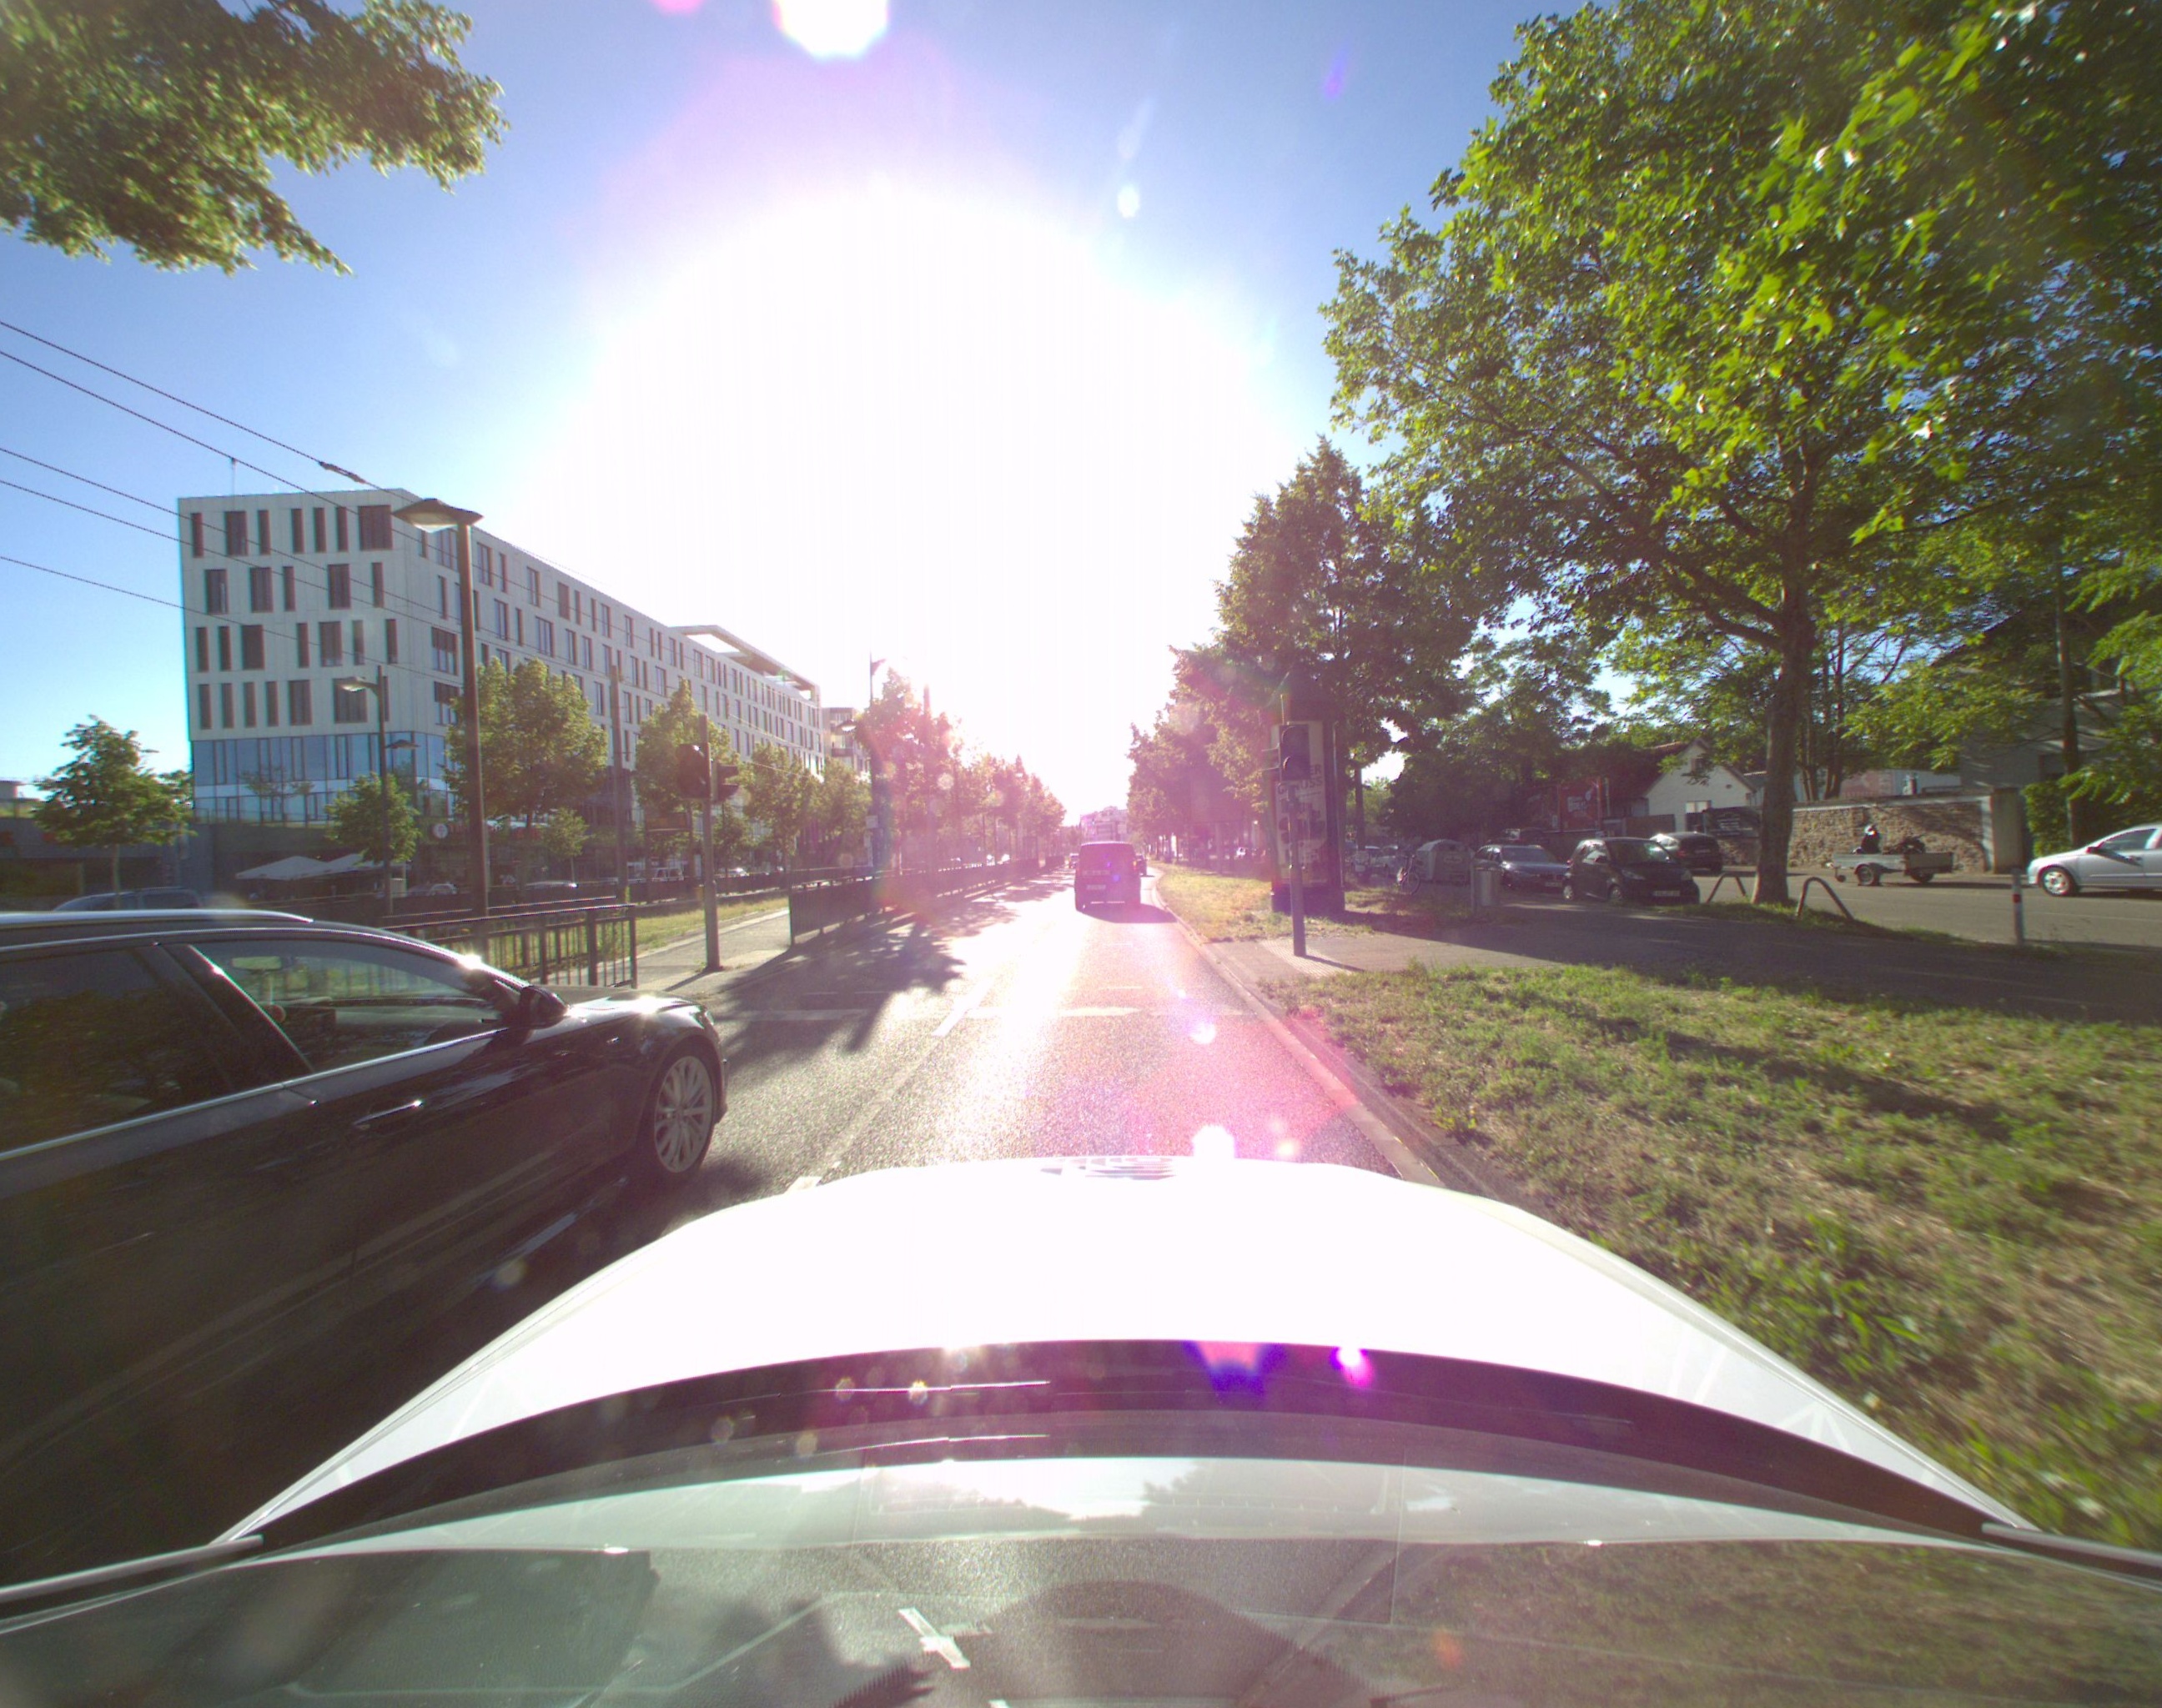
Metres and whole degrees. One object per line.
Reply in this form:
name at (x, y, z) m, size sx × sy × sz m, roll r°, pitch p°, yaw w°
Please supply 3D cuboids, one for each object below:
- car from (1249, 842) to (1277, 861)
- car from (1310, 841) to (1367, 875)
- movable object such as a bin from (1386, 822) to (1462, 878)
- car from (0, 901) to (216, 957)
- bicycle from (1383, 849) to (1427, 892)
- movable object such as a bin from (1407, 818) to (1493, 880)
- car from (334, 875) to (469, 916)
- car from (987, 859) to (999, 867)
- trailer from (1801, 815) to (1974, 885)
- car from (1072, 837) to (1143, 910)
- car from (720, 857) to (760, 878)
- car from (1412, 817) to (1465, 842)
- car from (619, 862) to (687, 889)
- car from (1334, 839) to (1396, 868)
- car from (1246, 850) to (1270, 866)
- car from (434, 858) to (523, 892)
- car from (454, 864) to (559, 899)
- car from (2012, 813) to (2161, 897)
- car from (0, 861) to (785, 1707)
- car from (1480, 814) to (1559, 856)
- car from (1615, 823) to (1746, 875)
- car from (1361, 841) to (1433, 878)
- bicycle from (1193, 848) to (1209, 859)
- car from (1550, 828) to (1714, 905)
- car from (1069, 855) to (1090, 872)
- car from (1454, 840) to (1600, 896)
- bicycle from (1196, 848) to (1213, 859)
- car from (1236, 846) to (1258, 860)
car at (17.856, -0.216, 79.949) m, size 1.865 × 1.684 × 4.000 m, roll -3°, pitch 0°, yaw 1°
car at (14.920, 0.235, 47.429) m, size 1.864 × 1.820 × 4.894 m, roll -1°, pitch 0°, yaw 2°
movable object such as a bin at (12.825, -0.134, 30.581) m, size 2.071 × 2.014 × 2.139 m, roll -1°, pitch -1°, yaw 5°
car at (-30.542, 2.267, 25.462) m, size 1.905 × 1.325 × 4.614 m, roll -1°, pitch 0°, yaw 3°
bicycle at (8.386, 0.410, 21.137) m, size 0.491 × 1.046 × 1.906 m, roll -1°, pitch 0°, yaw 4°
movable object such as a bin at (12.557, -0.155, 27.823) m, size 2.071 × 2.014 × 2.139 m, roll -1°, pitch -1°, yaw 5°
car at (-30.234, 1.808, 36.459) m, size 1.985 × 1.608 × 4.614 m, roll -1°, pitch 0°, yaw 3°
car at (-20.827, 2.061, 192.306) m, size 1.983 × 1.765 × 4.007 m, roll -1°, pitch 0°, yaw 6°
trailer at (21.621, -0.095, 21.993) m, size 1.722 × 1.640 × 3.028 m, roll -4°, pitch -1°, yaw 6°
car at (0.658, 0.517, 22.882) m, size 1.803 × 1.838 × 3.998 m, roll -1°, pitch 0°, yaw -1°
car at (-34.845, 1.382, 83.407) m, size 1.985 × 2.014 × 4.566 m, roll -1°, pitch 0°, yaw 3°
car at (25.399, -1.741, 58.001) m, size 1.863 × 1.483 × 4.694 m, roll -4°, pitch -1°, yaw 3°
car at (-29.546, 1.459, 56.415) m, size 1.985 × 1.714 × 4.855 m, roll -1°, pitch 0°, yaw 3°
car at (14.526, -0.033, 41.831) m, size 1.864 × 1.389 × 4.001 m, roll -1°, pitch 0°, yaw 2°
car at (19.572, 0.472, 90.366) m, size 1.864 × 1.684 × 4.000 m, roll -1°, pitch 0°, yaw 1°
car at (-37.507, 1.244, 50.895) m, size 1.985 × 2.014 × 4.566 m, roll 0°, pitch 0°, yaw 3°
car at (-29.800, 1.362, 42.448) m, size 1.985 × 1.672 × 4.614 m, roll -1°, pitch 0°, yaw 3°
car at (20.800, -0.018, 15.236) m, size 1.983 × 1.483 × 4.331 m, roll -4°, pitch -1°, yaw 6°
car at (-2.809, 0.810, 2.168) m, size 1.945 × 1.480 × 5.088 m, roll -1°, pitch 0°, yaw 3°
car at (23.548, -0.987, 43.932) m, size 1.863 × 2.002 × 4.694 m, roll -4°, pitch -1°, yaw 3°
car at (22.387, -0.165, 30.625) m, size 1.985 × 1.640 × 4.003 m, roll -5°, pitch -1°, yaw 3°
car at (14.142, 0.238, 36.752) m, size 1.861 × 1.524 × 5.067 m, roll -1°, pitch 0°, yaw 8°
bicycle at (14.274, -0.059, 96.917) m, size 1.771 × 1.268 × 0.479 m, roll -1°, pitch -1°, yaw 2°
car at (11.660, 0.257, 17.462) m, size 1.654 × 1.500 × 2.993 m, roll -1°, pitch 0°, yaw 4°
car at (-0.151, 0.961, 83.107) m, size 1.986 × 1.618 × 4.002 m, roll -1°, pitch 0°, yaw 2°
car at (12.261, 0.359, 22.788) m, size 1.988 × 1.384 × 4.754 m, roll -1°, pitch 0°, yaw 7°
bicycle at (14.630, -0.062, 96.168) m, size 1.910 × 1.268 × 0.479 m, roll -2°, pitch 0°, yaw 2°
car at (20.226, -0.123, 99.244) m, size 1.864 × 1.684 × 4.000 m, roll -1°, pitch 0°, yaw 1°
